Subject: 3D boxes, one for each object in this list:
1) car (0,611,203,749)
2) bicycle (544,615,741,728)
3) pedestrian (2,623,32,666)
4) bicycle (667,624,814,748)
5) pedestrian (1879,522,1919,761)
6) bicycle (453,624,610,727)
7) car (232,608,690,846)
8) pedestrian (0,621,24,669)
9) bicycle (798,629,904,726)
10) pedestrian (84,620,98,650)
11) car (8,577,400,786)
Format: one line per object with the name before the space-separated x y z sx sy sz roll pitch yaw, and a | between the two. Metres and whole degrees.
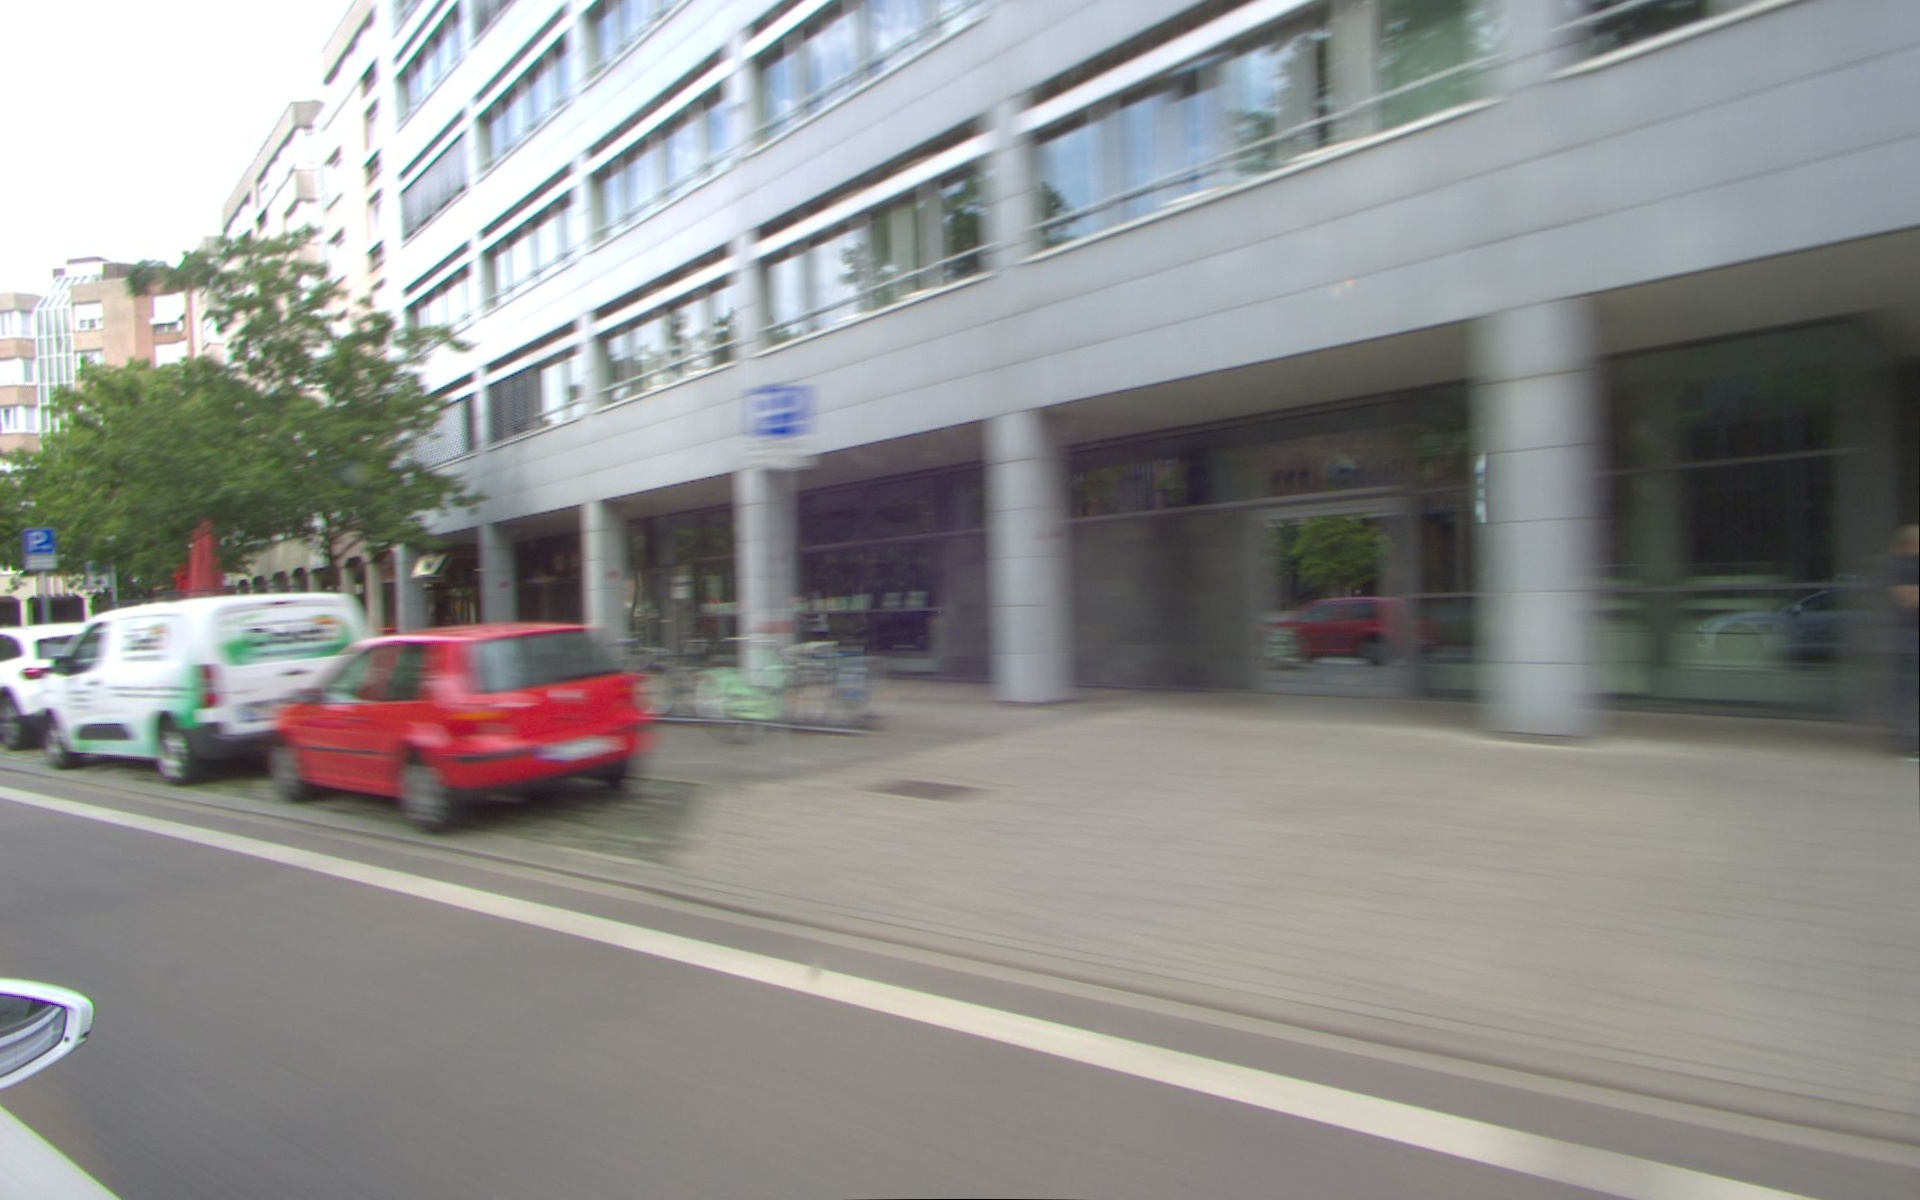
car | -13.423 1.076 14.616 4.512 1.625 1.991 -2 3 28
bicycle | -4.048 0.860 13.054 0.646 1.275 2.626 -1 0 33
pedestrian | -35.247 1.657 37.420 0.756 1.590 0.740 -1 1 42
bicycle | -2.331 0.883 10.898 0.485 1.154 1.848 -1 1 26
pedestrian | 7.293 0.301 7.457 0.636 1.750 0.542 1 2 44
bicycle | -5.704 0.972 13.436 0.474 1.213 1.899 -1 1 40
car | -4.339 0.877 8.460 4.199 1.452 1.715 -1 3 37
pedestrian | -31.891 1.505 33.592 0.508 1.590 0.479 -2 0 -22
bicycle | -1.256 0.879 11.857 0.416 1.000 1.556 -1 1 28
pedestrian | -49.262 1.969 56.749 0.529 1.684 0.842 -2 0 -45
car | -8.539 0.796 11.216 4.580 1.890 1.823 -2 2 31
